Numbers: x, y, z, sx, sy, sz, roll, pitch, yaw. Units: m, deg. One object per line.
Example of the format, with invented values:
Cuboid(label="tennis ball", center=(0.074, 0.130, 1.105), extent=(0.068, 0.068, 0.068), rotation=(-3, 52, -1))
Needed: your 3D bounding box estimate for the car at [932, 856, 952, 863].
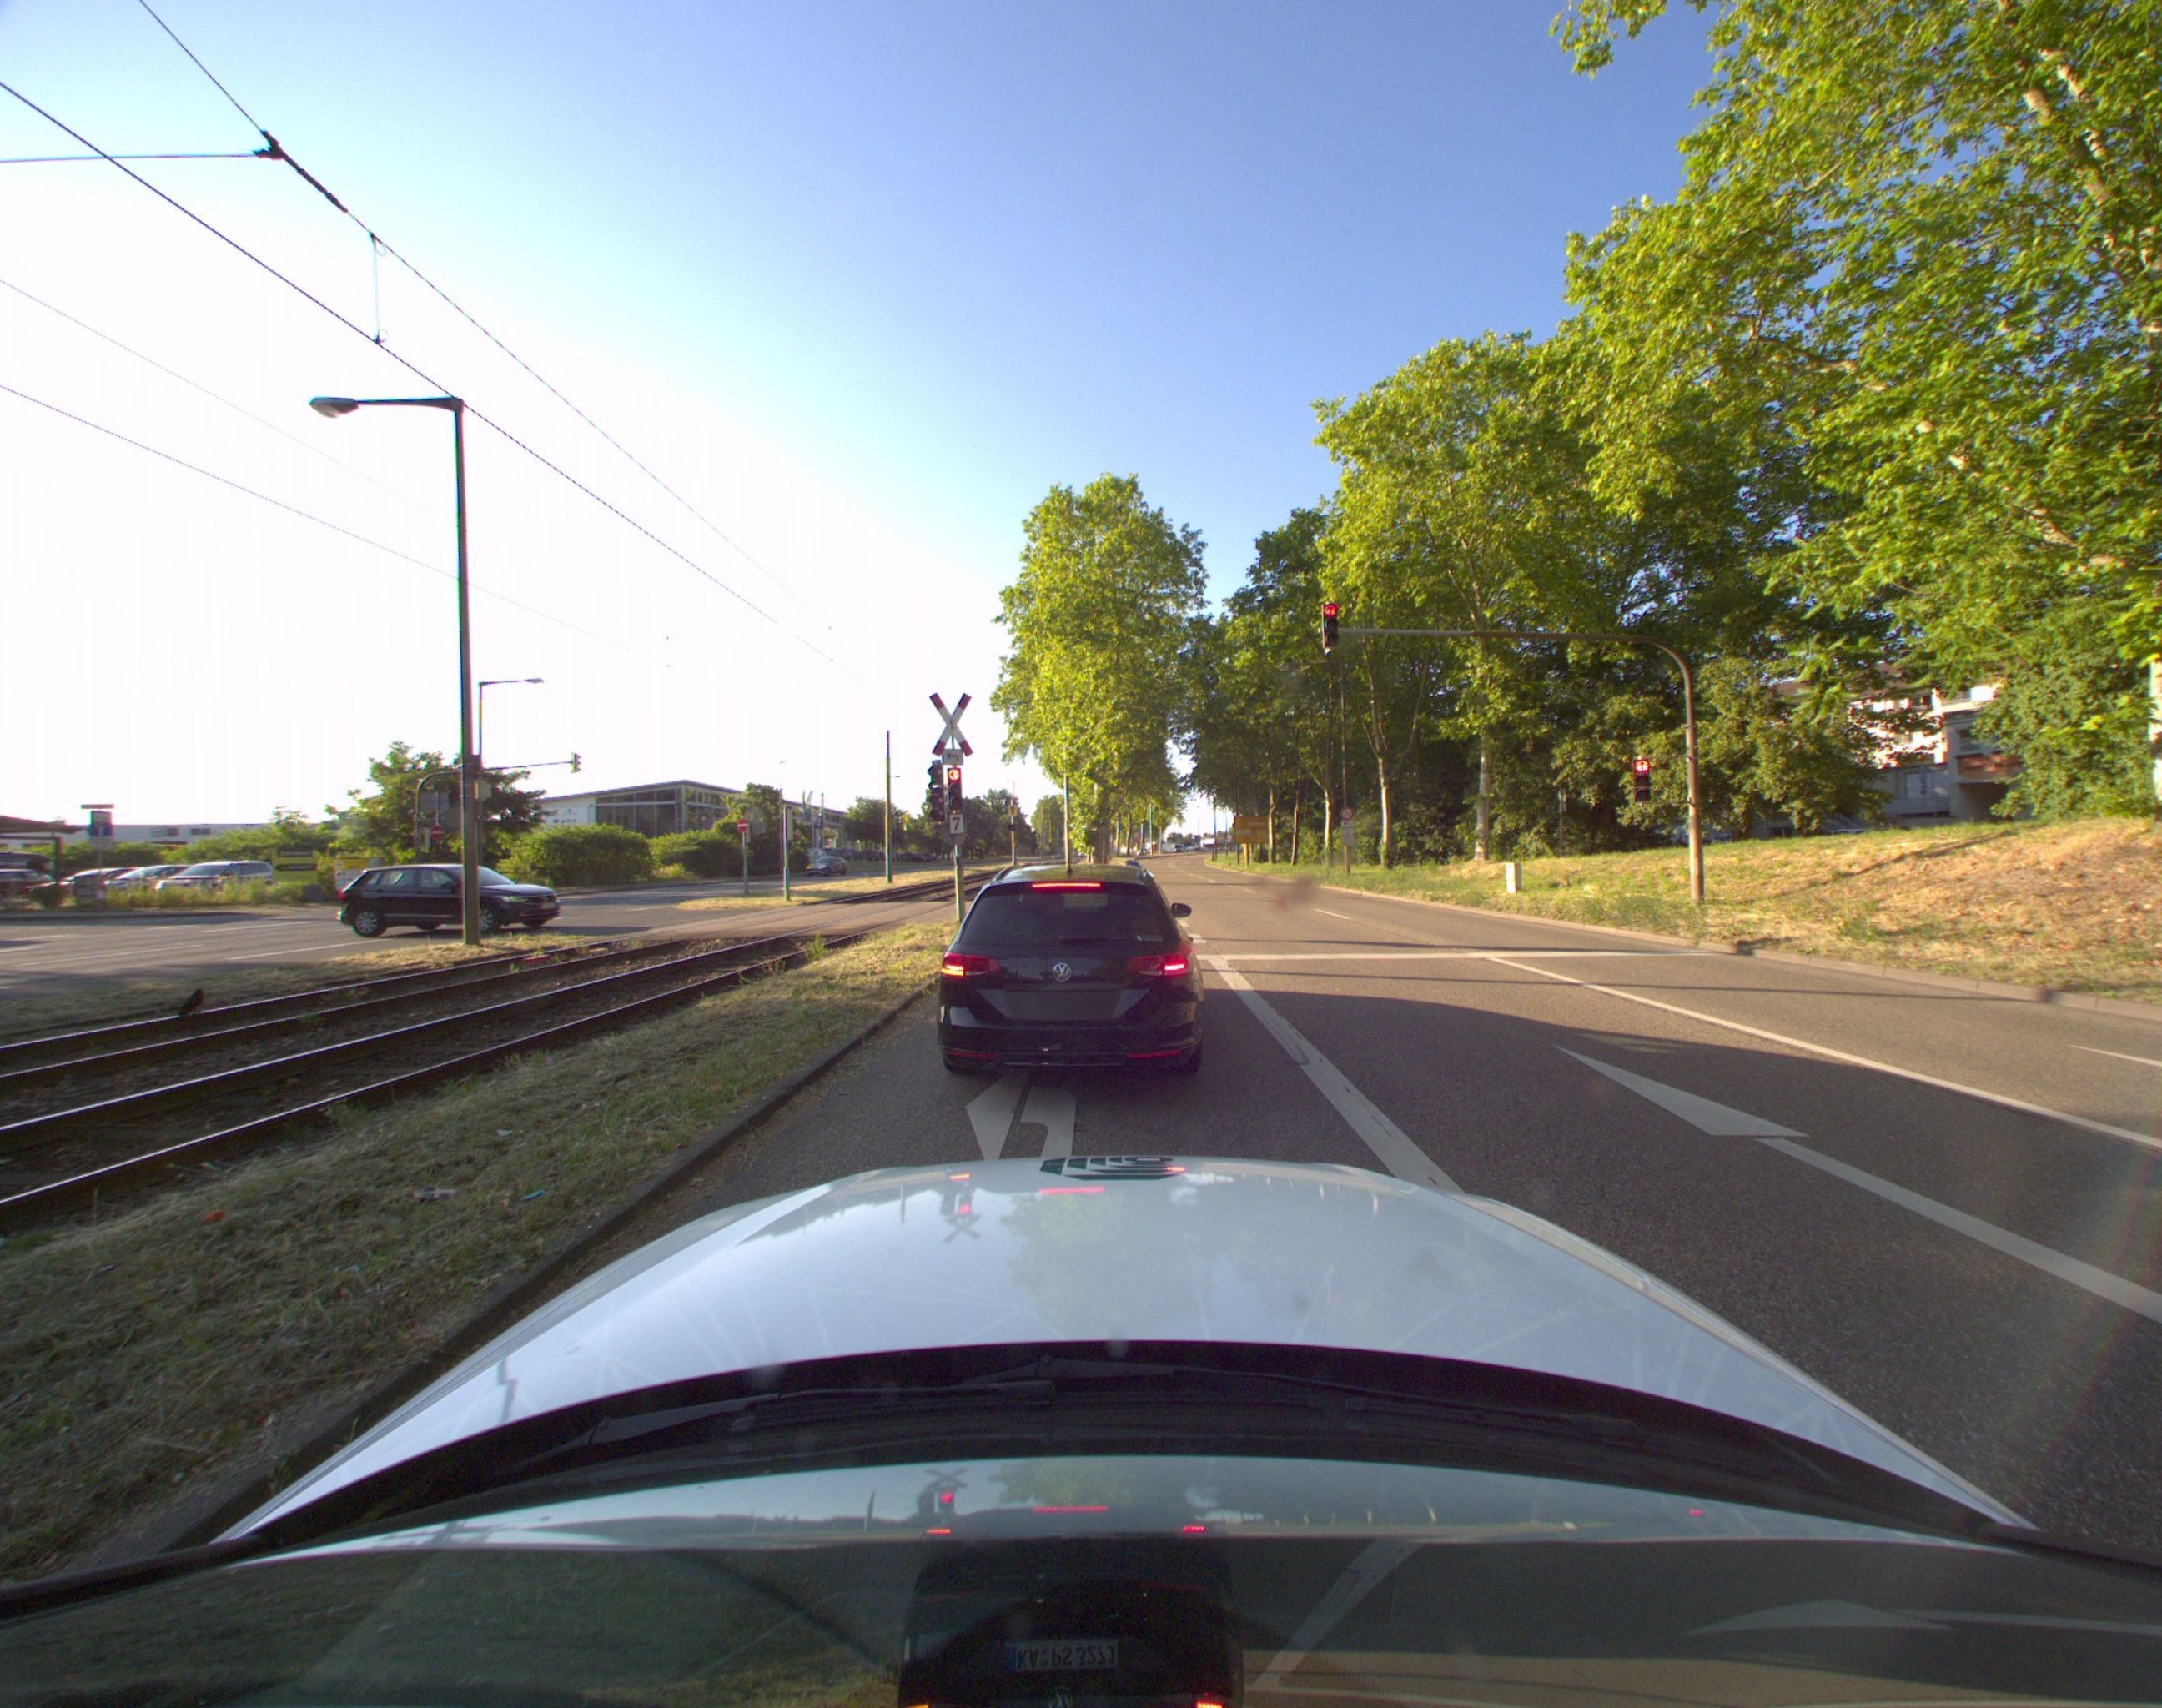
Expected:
Cuboid(label="car", center=(-28.821, 1.159, 168.921), extent=(3.977, 1.556, 1.742), rotation=(-1, 0, -2))

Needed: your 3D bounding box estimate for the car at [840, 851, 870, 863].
Cuboid(label="car", center=(-31.235, 0.421, 112.607), extent=(3.999, 1.556, 1.732), rotation=(-1, 0, -19))

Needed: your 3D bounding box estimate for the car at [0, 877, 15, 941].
Cuboid(label="car", center=(-28.752, 1.424, 19.523), extent=(4.137, 1.561, 1.713), rotation=(-1, 0, 1))

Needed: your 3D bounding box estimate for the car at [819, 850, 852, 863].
Cuboid(label="car", center=(-31.157, 0.287, 103.418), extent=(3.999, 1.556, 1.732), rotation=(-1, 0, -19))

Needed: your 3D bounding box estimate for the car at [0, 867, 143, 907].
Cuboid(label="car", center=(-44.712, 1.400, 35.892), extent=(1.855, 1.583, 4.174), rotation=(0, 0, 2))

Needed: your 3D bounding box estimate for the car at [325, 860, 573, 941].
Cuboid(label="car", center=(-14.897, 1.060, 19.397), extent=(4.342, 1.635, 1.878), rotation=(-2, 0, 0))

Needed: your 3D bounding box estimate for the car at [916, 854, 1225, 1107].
Cuboid(label="car", center=(-0.017, 0.737, 6.525), extent=(1.788, 1.464, 3.584), rotation=(0, 0, 1))

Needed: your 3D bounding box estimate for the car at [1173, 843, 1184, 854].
Cuboid(label="car", center=(23.633, -1.321, 197.580), extent=(2.086, 2.461, 5.857), rotation=(0, 0, 3))

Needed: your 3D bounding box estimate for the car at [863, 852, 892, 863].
Cuboid(label="car", center=(-30.615, 0.528, 122.746), extent=(3.978, 1.621, 1.742), rotation=(-1, 0, -3))

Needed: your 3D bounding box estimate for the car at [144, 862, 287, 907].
Cuboid(label="car", center=(-38.524, 1.319, 36.410), extent=(1.855, 1.821, 4.174), rotation=(0, 0, 2))

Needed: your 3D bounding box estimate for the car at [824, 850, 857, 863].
Cuboid(label="car", center=(-31.371, 0.330, 106.209), extent=(3.999, 1.556, 1.732), rotation=(-1, 0, -19))

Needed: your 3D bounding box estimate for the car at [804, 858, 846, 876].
Cuboid(label="car", center=(-21.956, 1.111, 69.923), extent=(1.852, 1.481, 4.181), rotation=(0, 0, 7))

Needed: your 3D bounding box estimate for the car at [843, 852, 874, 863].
Cuboid(label="car", center=(-31.444, 0.459, 115.314), extent=(3.983, 1.556, 1.739), rotation=(-1, 0, -7))

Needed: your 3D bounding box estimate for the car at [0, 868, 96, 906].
Cuboid(label="car", center=(-47.161, 1.448, 36.044), extent=(1.970, 1.583, 4.174), rotation=(0, 0, 2))

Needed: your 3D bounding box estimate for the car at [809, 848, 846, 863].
Cuboid(label="car", center=(-29.266, 0.133, 94.115), extent=(3.999, 1.704, 1.732), rotation=(-1, 0, -19))

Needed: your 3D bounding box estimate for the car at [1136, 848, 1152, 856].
Cuboid(label="car", center=(12.764, -0.361, 164.509), extent=(1.845, 1.481, 4.115), rotation=(0, 0, 25))

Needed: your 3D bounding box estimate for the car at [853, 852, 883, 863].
Cuboid(label="car", center=(-31.012, 0.503, 118.825), extent=(3.980, 1.556, 1.741), rotation=(-1, 0, -5))

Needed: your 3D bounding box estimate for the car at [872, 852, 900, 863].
Cuboid(label="car", center=(-30.126, 0.571, 125.948), extent=(3.978, 1.621, 1.742), rotation=(-1, 0, -3))

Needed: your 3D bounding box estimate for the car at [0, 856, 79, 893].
Cuboid(label="car", center=(-60.423, 1.146, 45.903), extent=(1.855, 2.014, 4.773), rotation=(0, 0, 2))

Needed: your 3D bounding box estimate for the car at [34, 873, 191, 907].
Cuboid(label="car", center=(-42.472, 1.559, 35.888), extent=(1.855, 1.267, 4.174), rotation=(0, 0, 2))

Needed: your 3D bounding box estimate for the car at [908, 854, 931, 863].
Cuboid(label="car", center=(-29.113, 0.845, 146.840), extent=(3.978, 1.621, 1.742), rotation=(-1, 0, -3))

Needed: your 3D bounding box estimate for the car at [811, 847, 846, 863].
Cuboid(label="car", center=(-30.608, 0.115, 98.738), extent=(3.999, 1.816, 1.732), rotation=(-1, 0, -19))

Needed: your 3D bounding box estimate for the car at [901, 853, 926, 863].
Cuboid(label="car", center=(-28.773, 0.747, 139.671), extent=(3.978, 1.621, 1.742), rotation=(-1, 0, -3))
